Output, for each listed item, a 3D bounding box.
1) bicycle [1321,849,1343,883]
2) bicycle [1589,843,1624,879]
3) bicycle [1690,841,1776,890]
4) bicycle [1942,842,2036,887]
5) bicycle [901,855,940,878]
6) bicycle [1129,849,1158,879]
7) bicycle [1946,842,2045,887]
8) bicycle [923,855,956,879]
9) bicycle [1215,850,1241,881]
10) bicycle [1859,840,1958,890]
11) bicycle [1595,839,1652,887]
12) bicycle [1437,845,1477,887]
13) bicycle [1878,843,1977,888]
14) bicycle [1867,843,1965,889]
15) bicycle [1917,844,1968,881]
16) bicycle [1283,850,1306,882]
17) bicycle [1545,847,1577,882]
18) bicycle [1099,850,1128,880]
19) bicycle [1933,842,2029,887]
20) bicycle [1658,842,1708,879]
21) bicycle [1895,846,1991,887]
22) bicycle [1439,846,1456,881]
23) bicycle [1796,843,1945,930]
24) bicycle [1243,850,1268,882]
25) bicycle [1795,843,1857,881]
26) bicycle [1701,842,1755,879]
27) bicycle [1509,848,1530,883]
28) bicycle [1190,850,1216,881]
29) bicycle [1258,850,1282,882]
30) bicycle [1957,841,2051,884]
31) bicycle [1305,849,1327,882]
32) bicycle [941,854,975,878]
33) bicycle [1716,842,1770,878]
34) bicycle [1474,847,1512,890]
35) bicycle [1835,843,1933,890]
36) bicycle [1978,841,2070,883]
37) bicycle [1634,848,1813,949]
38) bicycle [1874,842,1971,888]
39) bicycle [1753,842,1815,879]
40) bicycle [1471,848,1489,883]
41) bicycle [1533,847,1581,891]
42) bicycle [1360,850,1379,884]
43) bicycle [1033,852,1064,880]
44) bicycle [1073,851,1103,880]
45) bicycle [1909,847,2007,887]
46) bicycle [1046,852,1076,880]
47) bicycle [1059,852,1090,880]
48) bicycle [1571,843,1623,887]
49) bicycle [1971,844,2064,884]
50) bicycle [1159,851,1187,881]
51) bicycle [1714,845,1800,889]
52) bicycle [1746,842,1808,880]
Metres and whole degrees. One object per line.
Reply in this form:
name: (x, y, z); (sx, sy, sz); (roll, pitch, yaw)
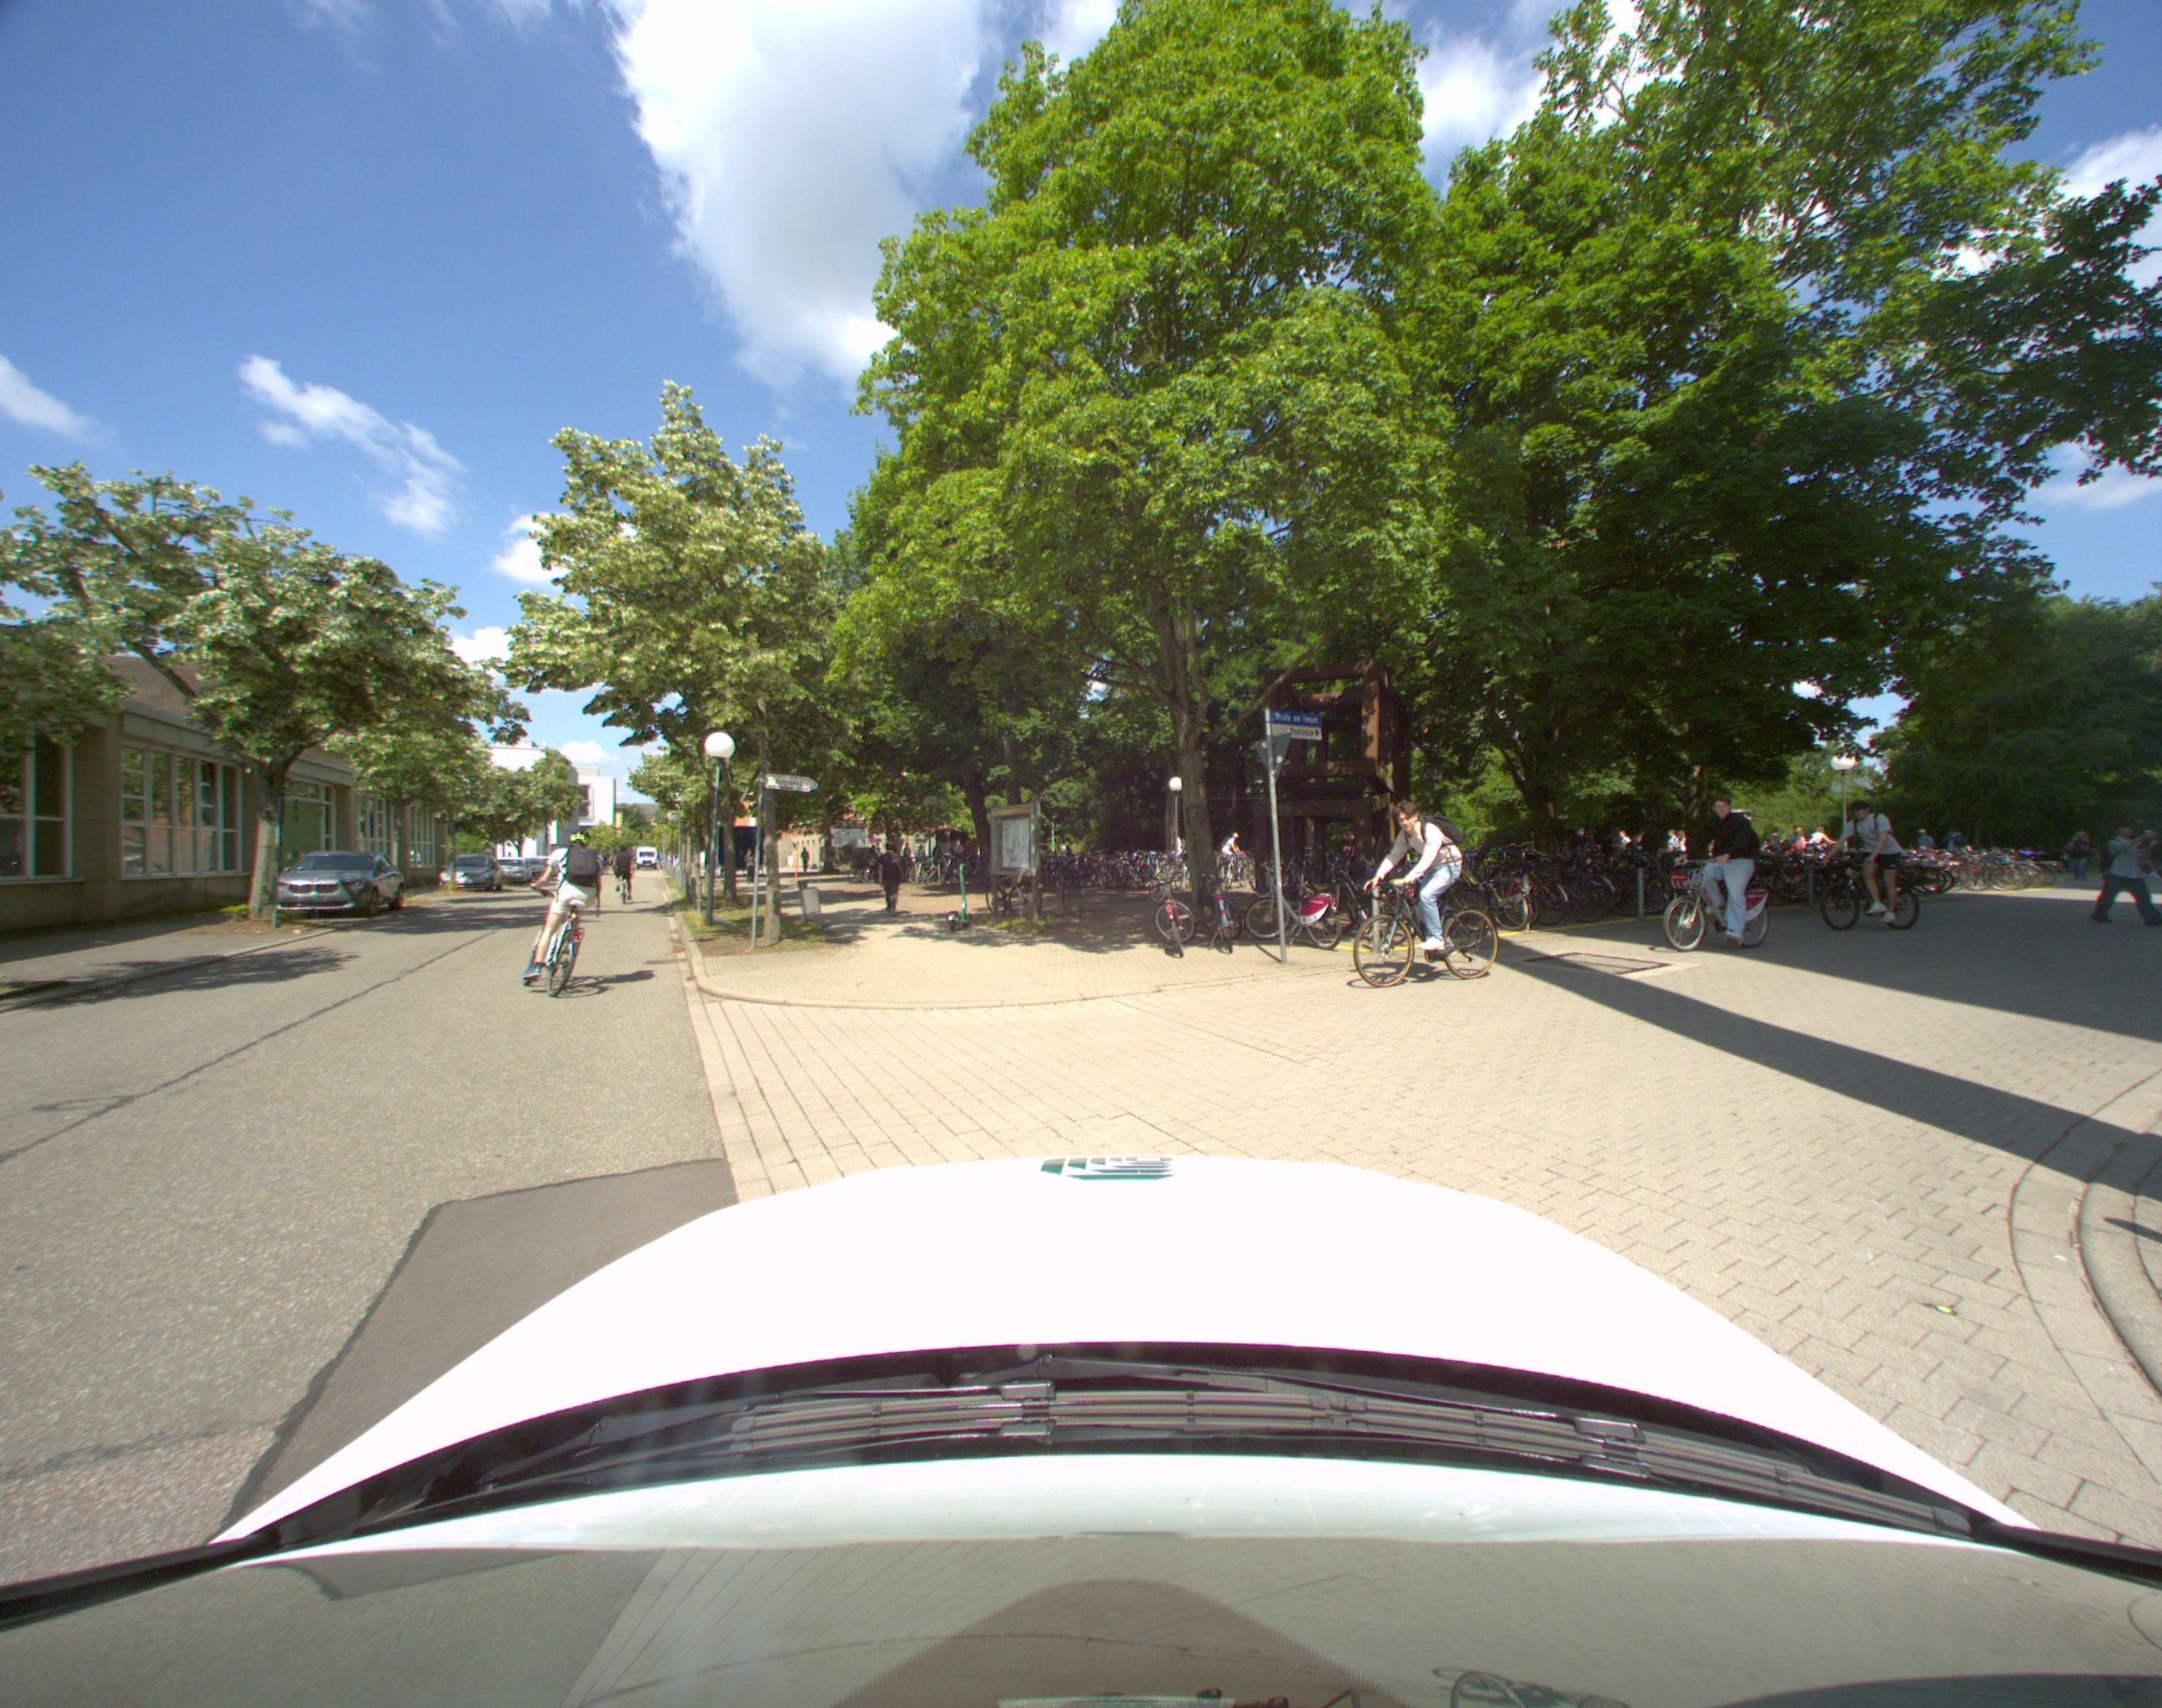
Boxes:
bicycle: (8.562, 0.393, 27.758); (0.468, 1.083, 1.870); (1, 1, 24)
bicycle: (16.471, 0.204, 25.570); (0.469, 1.083, 1.707); (0, 1, 17)
bicycle: (16.927, 0.266, 21.179); (0.505, 1.220, 1.680); (0, 1, -39)
bicycle: (24.480, 0.260, 21.984); (0.476, 1.168, 1.680); (0, 1, -40)
bicycle: (-7.696, 0.595, 39.070); (0.468, 1.083, 1.870); (1, 1, 45)
bicycle: (2.384, 0.374, 30.961); (0.468, 1.083, 1.870); (1, 1, 24)
bicycle: (25.079, 0.263, 22.376); (0.473, 1.168, 1.772); (0, 1, -15)
bicycle: (-6.688, 0.605, 38.545); (0.468, 1.083, 1.871); (1, 1, 30)
bicycle: (5.343, 0.396, 29.550); (0.468, 1.083, 1.870); (1, 1, 24)
bicycle: (20.520, 0.258, 20.226); (0.476, 1.187, 1.680); (0, 1, -39)
bicycle: (14.140, 0.214, 21.273); (0.571, 1.199, 1.704); (0, 1, 8)
bicycle: (10.360, 0.313, 22.476); (0.625, 1.108, 1.705); (0, 1, 12)
bicycle: (21.625, 0.275, 20.839); (1.678, 1.108, 0.477); (1, 1, 35)
bicycle: (20.981, 0.280, 20.488); (0.585, 1.108, 1.680); (0, 1, -39)
bicycle: (25.325, 0.240, 23.934); (1.702, 1.083, 0.504); (0, 1, -25)
bicycle: (7.423, 0.393, 28.280); (0.468, 1.083, 1.870); (1, 1, 24)
bicycle: (15.353, 0.308, 26.077); (0.469, 1.083, 1.707); (0, 1, 17)
bicycle: (1.281, 0.412, 31.635); (0.468, 1.083, 1.870); (1, 1, 24)
bicycle: (23.990, 0.258, 21.748); (0.477, 1.168, 1.679); (0, 1, -45)
bicycle: (18.540, 0.188, 25.112); (0.470, 1.083, 1.703); (0, 1, 8)
bicycle: (22.983, 0.310, 21.741); (1.678, 1.061, 0.477); (1, 1, 27)
bicycle: (11.925, 0.286, 26.498); (0.468, 1.083, 1.709); (1, 1, 24)
bicycle: (11.498, 0.442, 11.868); (1.886, 1.171, 0.800); (0, 2, -20)
bicycle: (6.222, 0.405, 28.965); (0.468, 1.083, 1.870); (1, 1, 24)
bicycle: (22.014, 0.219, 24.103); (0.470, 1.083, 1.703); (0, 1, 8)
bicycle: (19.665, 0.185, 24.794); (0.470, 1.083, 1.703); (0, 1, 8)
bicycle: (14.109, 0.341, 26.202); (0.468, 1.083, 1.709); (1, 1, 24)
bicycle: (4.514, 0.405, 30.080); (0.468, 1.083, 1.870); (1, 1, 24)
bicycle: (6.679, 0.407, 28.710); (0.468, 1.083, 1.870); (1, 1, 24)
bicycle: (25.818, 0.218, 22.806); (0.476, 1.168, 1.682); (0, 1, -34)
bicycle: (8.116, 0.392, 28.110); (0.468, 1.083, 1.870); (1, 1, 24)
bicycle: (-5.697, 0.544, 37.864); (0.468, 1.083, 1.871); (1, 1, 30)
bicycle: (20.147, 0.163, 24.827); (0.470, 1.083, 1.703); (0, 1, 8)
bicycle: (11.258, 0.377, 22.293); (0.498, 1.108, 1.705); (0, 1, 12)
bicycle: (19.902, 0.284, 20.215); (0.568, 1.108, 1.680); (0, 1, -39)
bicycle: (26.954, 0.210, 23.294); (0.476, 1.159, 1.681); (0, 1, -36)
bicycle: (7.754, 0.513, 9.846); (1.882, 1.140, 0.672); (0, 1, -14)
bicycle: (21.890, 0.259, 21.226); (1.678, 1.157, 0.477); (1, 1, 35)
bicycle: (21.145, 0.185, 24.528); (0.470, 1.083, 1.701); (0, 1, 4)
bicycle: (12.916, 0.351, 26.394); (0.468, 1.083, 1.709); (1, 1, 24)
bicycle: (12.627, 0.375, 21.635); (0.498, 1.108, 1.704); (0, 1, 8)
bicycle: (9.757, 0.429, 27.516); (0.468, 1.083, 1.709); (1, 1, 24)
bicycle: (-1.301, 0.479, 33.362); (0.468, 1.083, 1.870); (1, 1, 24)
bicycle: (0.297, 0.448, 32.552); (0.468, 1.083, 1.870); (1, 1, 24)
bicycle: (22.844, 0.326, 21.242); (1.678, 1.018, 0.477); (1, 1, 27)
bicycle: (-0.791, 0.475, 33.047); (0.468, 1.083, 1.870); (1, 1, 24)
bicycle: (-0.247, 0.475, 32.915); (0.468, 1.083, 1.870); (1, 1, 24)
bicycle: (13.537, 0.275, 21.390); (0.498, 1.108, 1.704); (0, 1, 8)
bicycle: (26.530, 0.258, 23.090); (0.476, 1.091, 1.682); (0, 1, -34)
bicycle: (3.450, 0.427, 30.414); (0.468, 1.083, 1.870); (1, 1, 24)
bicycle: (17.905, 0.328, 21.597); (0.505, 1.108, 1.680); (0, 1, -39)
bicycle: (20.631, 0.193, 24.187); (0.470, 1.083, 1.701); (0, 1, 4)
